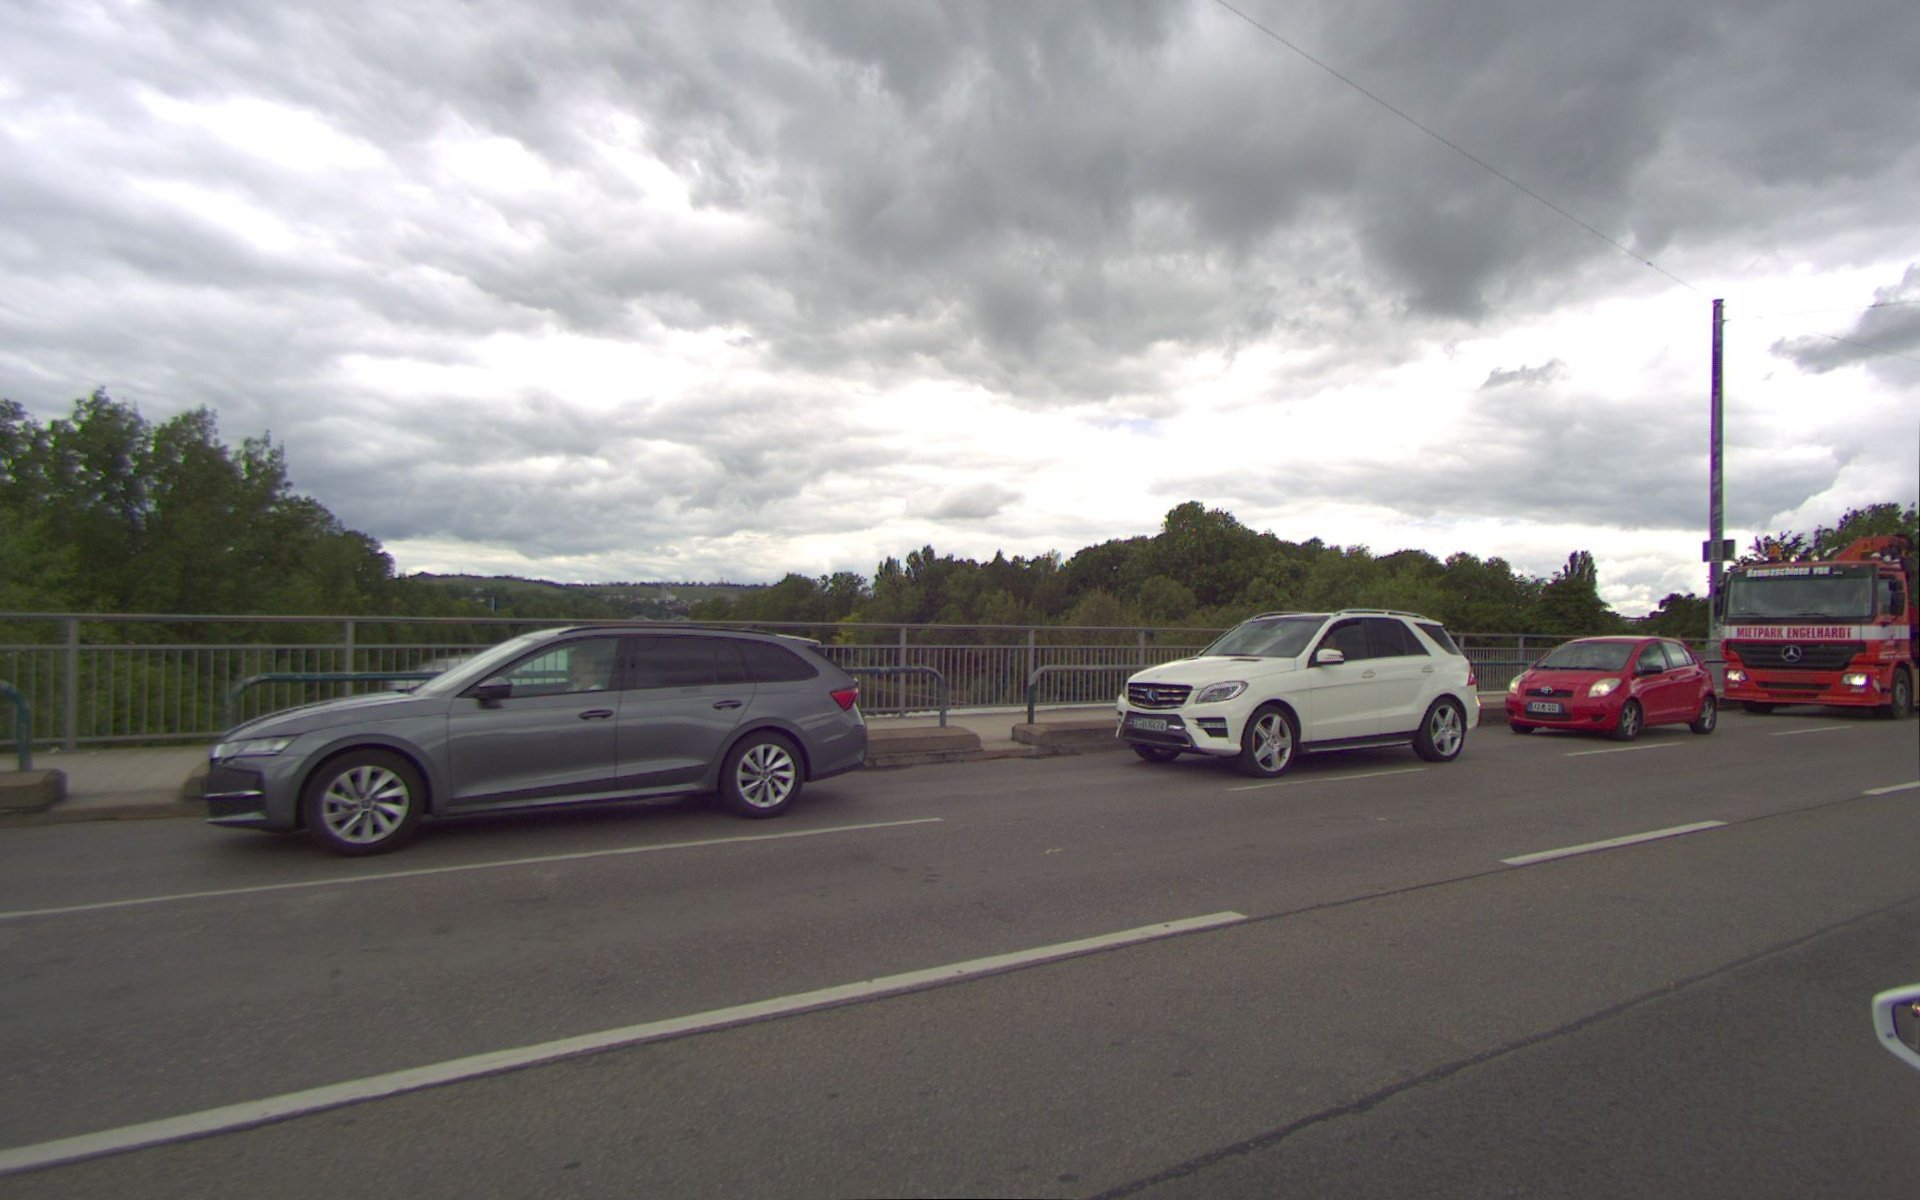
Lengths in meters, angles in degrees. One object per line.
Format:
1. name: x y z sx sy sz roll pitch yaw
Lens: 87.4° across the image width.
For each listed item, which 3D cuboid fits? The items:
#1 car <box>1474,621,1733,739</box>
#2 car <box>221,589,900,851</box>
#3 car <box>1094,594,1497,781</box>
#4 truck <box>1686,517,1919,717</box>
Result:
1. car: 10.083 1.182 15.700 3.970 1.624 1.870 1 -2 -32
2. car: -2.857 0.776 7.817 4.466 1.524 1.826 1 -2 -32
3. car: 3.992 0.921 11.705 4.748 1.784 1.870 1 -2 -32
4. truck: 19.942 0.459 21.994 9.870 3.612 2.990 1 -2 -32
